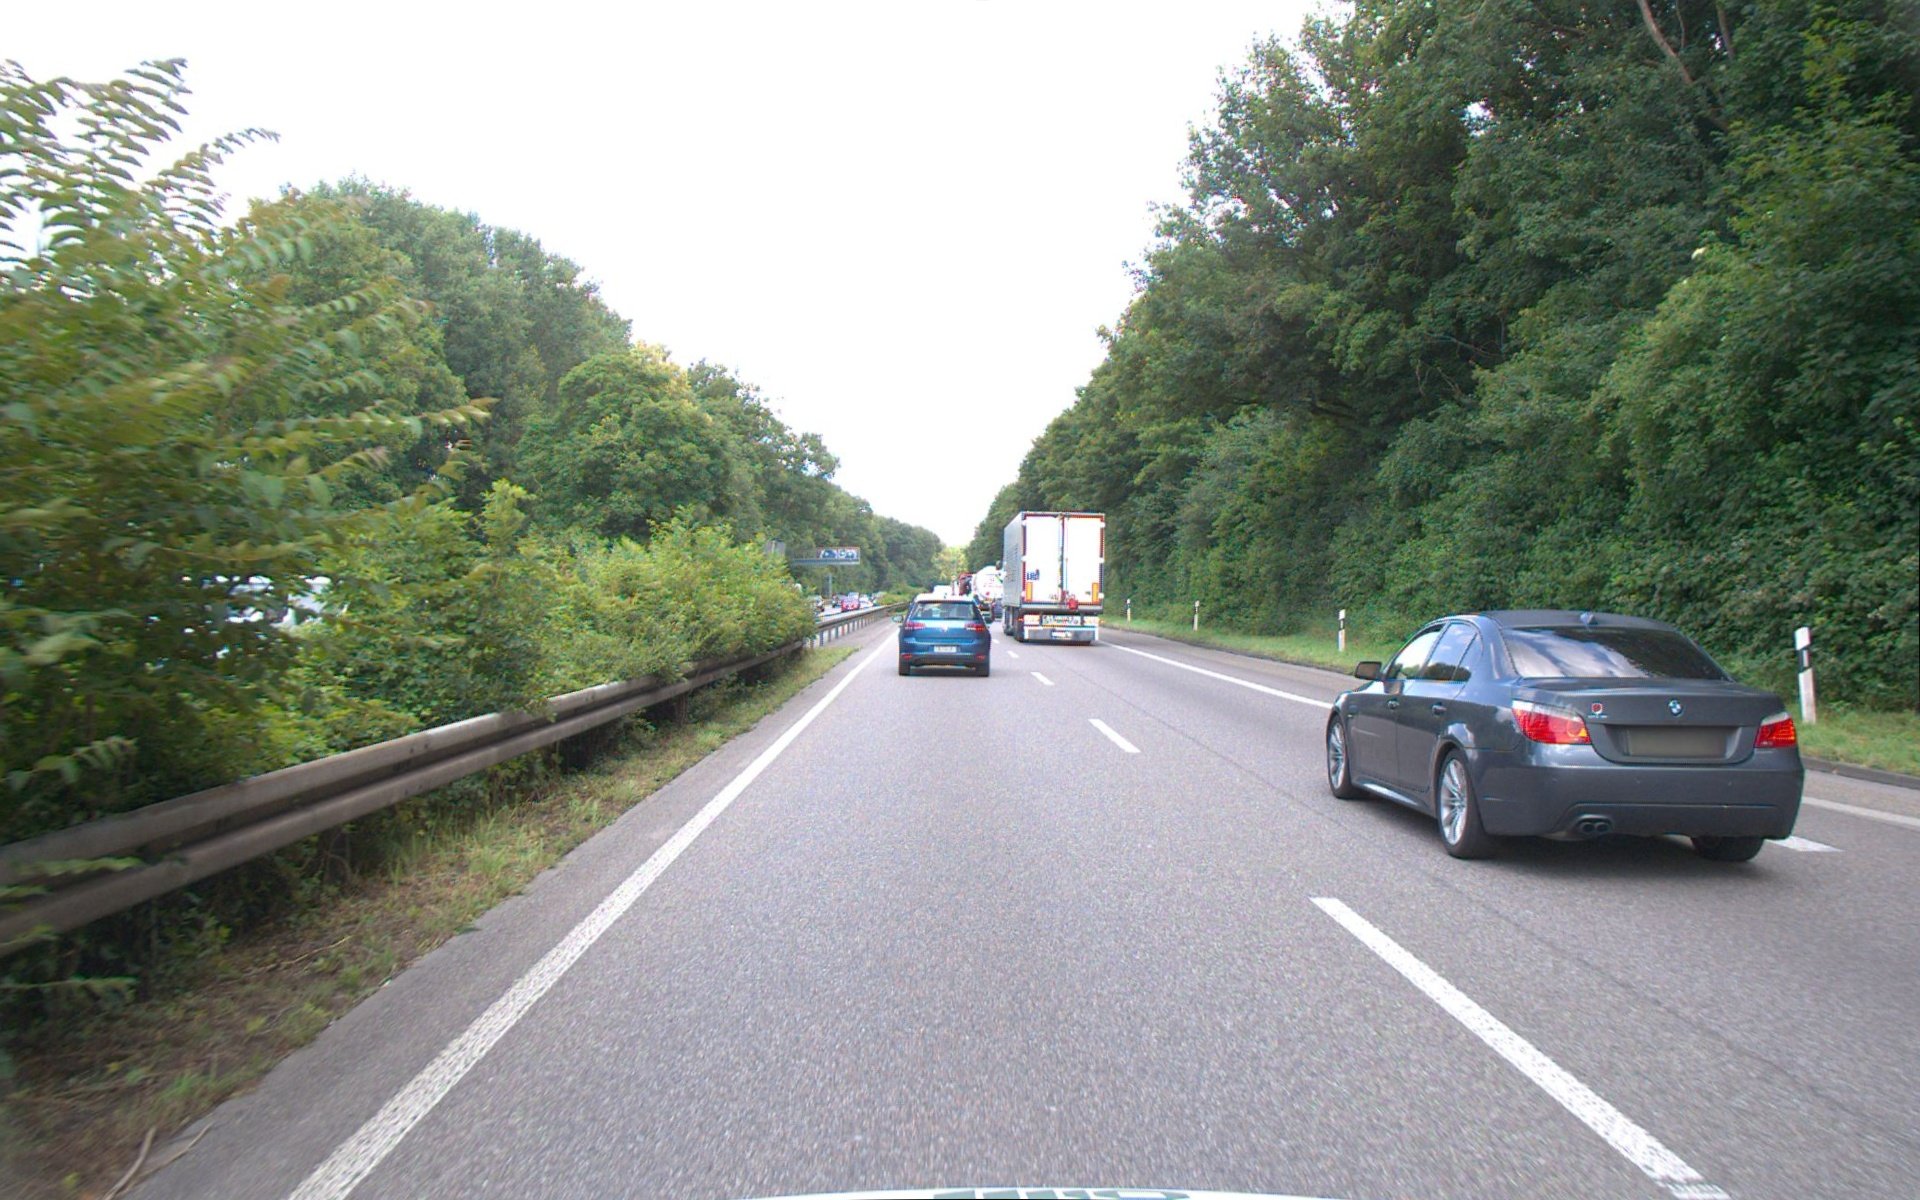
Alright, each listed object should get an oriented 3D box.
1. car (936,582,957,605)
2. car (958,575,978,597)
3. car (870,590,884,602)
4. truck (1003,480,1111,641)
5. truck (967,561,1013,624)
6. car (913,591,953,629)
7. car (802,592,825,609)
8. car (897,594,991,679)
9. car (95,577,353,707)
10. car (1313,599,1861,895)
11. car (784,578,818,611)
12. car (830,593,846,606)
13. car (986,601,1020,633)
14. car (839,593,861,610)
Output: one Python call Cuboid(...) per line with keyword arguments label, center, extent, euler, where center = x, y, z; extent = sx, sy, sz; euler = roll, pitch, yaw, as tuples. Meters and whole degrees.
Cuboid(label="car", center=(-1.440, -0.673, 171.372), extent=(1.954, 2.294, 4.439), euler=(0, 0, -3))
Cuboid(label="car", center=(0.832, -1.504, 182.874), extent=(1.954, 2.368, 4.439), euler=(-1, 0, -3))
Cuboid(label="car", center=(-10.713, -0.518, 213.737), extent=(1.745, 1.546, 4.265), euler=(0, 0, -1))
Cuboid(label="truck", center=(3.060, -1.234, 55.282), extent=(3.175, 4.798, 11.009), euler=(-1, 1, 1))
Cuboid(label="truck", center=(2.151, -0.516, 123.346), extent=(3.166, 4.463, 12.970), euler=(0, 0, 0))
Cuboid(label="car", center=(-1.105, 0.391, 69.231), extent=(1.631, 1.526, 4.151), euler=(0, 0, 0))
Cuboid(label="car", center=(-13.768, 0.043, 155.984), extent=(1.749, 1.504, 4.569), euler=(0, 0, 0))
Cuboid(label="car", center=(-0.326, 0.643, 31.661), extent=(1.670, 1.495, 3.999), euler=(1, 0, -1))
Cuboid(label="car", center=(-12.279, 0.624, 28.080), extent=(1.953, 1.962, 5.534), euler=(-1, 0, -1))
Cuboid(label="car", center=(3.798, 0.771, 11.075), extent=(1.738, 1.501, 4.879), euler=(1, 0, -1))
Cuboid(label="car", center=(-12.322, -0.459, 128.384), extent=(2.068, 2.465, 5.830), euler=(0, 0, 0))
Cuboid(label="car", center=(-14.698, -0.055, 199.453), extent=(1.646, 1.546, 4.858), euler=(0, 0, -1))
Cuboid(label="car", center=(2.473, 0.984, 95.841), extent=(1.850, 1.759, 4.000), euler=(-1, 0, -1))
Cuboid(label="car", center=(-9.897, 0.150, 149.048), extent=(1.644, 1.480, 4.127), euler=(1, 0, 0))
